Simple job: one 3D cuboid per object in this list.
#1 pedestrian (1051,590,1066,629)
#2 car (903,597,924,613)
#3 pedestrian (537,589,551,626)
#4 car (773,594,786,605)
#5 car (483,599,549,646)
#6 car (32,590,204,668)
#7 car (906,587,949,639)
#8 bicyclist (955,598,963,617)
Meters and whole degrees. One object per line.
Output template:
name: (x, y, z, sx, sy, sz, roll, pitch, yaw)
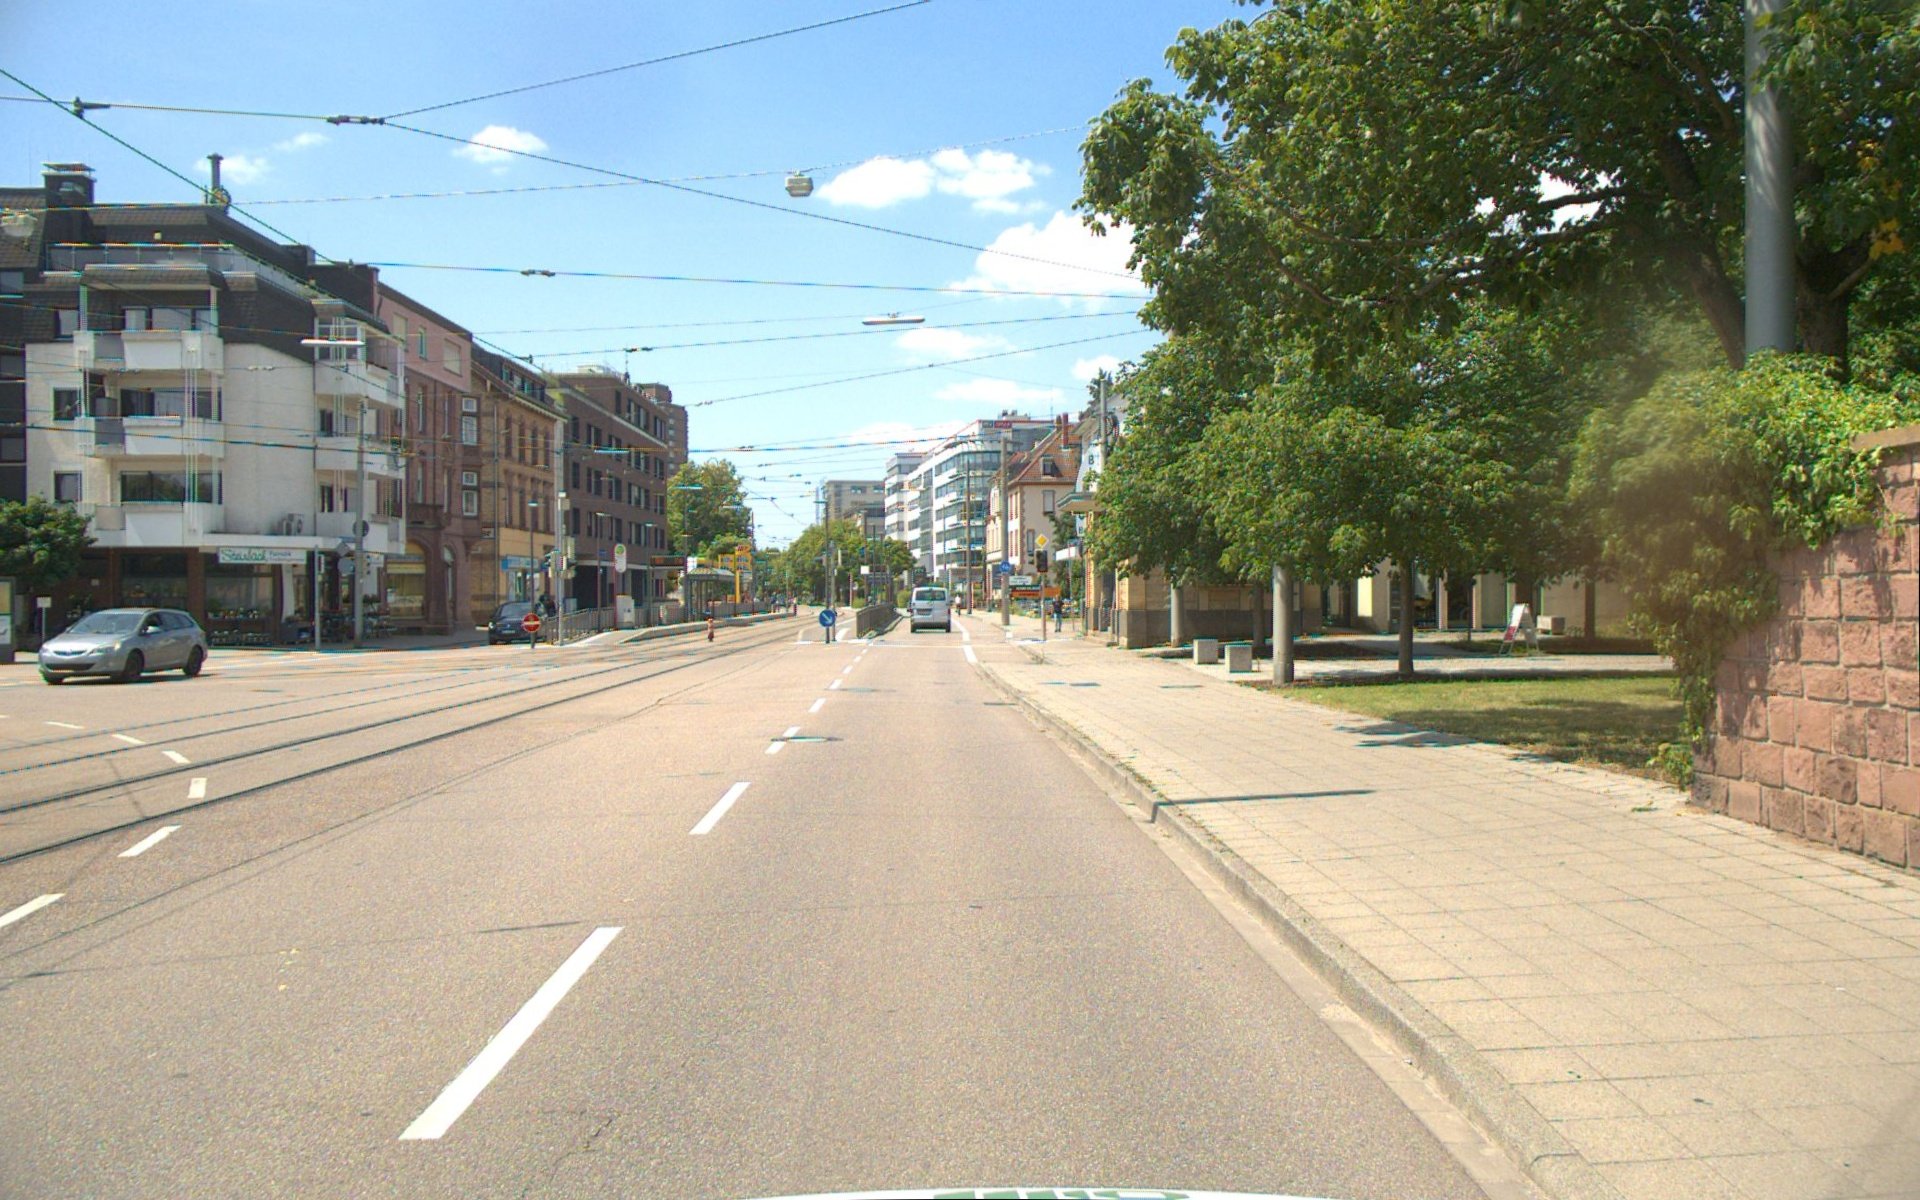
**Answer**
pedestrian: (4.099, 0.394, 69.019, 0.565, 1.583, 0.786, -2, -1, 2)
car: (-5.235, 0.570, 185.564, 1.827, 1.716, 4.993, -1, 0, -6)
pedestrian: (-23.320, 0.427, 92.802, 0.605, 2.049, 0.810, -1, 0, -3)
car: (-26.993, -0.064, 247.600, 1.668, 1.644, 3.748, -1, 0, -11)
car: (-17.175, 0.835, 64.120, 1.690, 1.712, 4.276, -1, 1, -4)
car: (-17.382, 0.562, 34.382, 1.957, 1.497, 4.391, 0, 0, -10)
car: (-1.375, 0.511, 69.674, 1.717, 2.048, 3.999, -1, 1, -1)
bicyclist: (-0.082, 0.554, 125.469, 0.580, 1.421, 0.840, 0, 0, -5)
